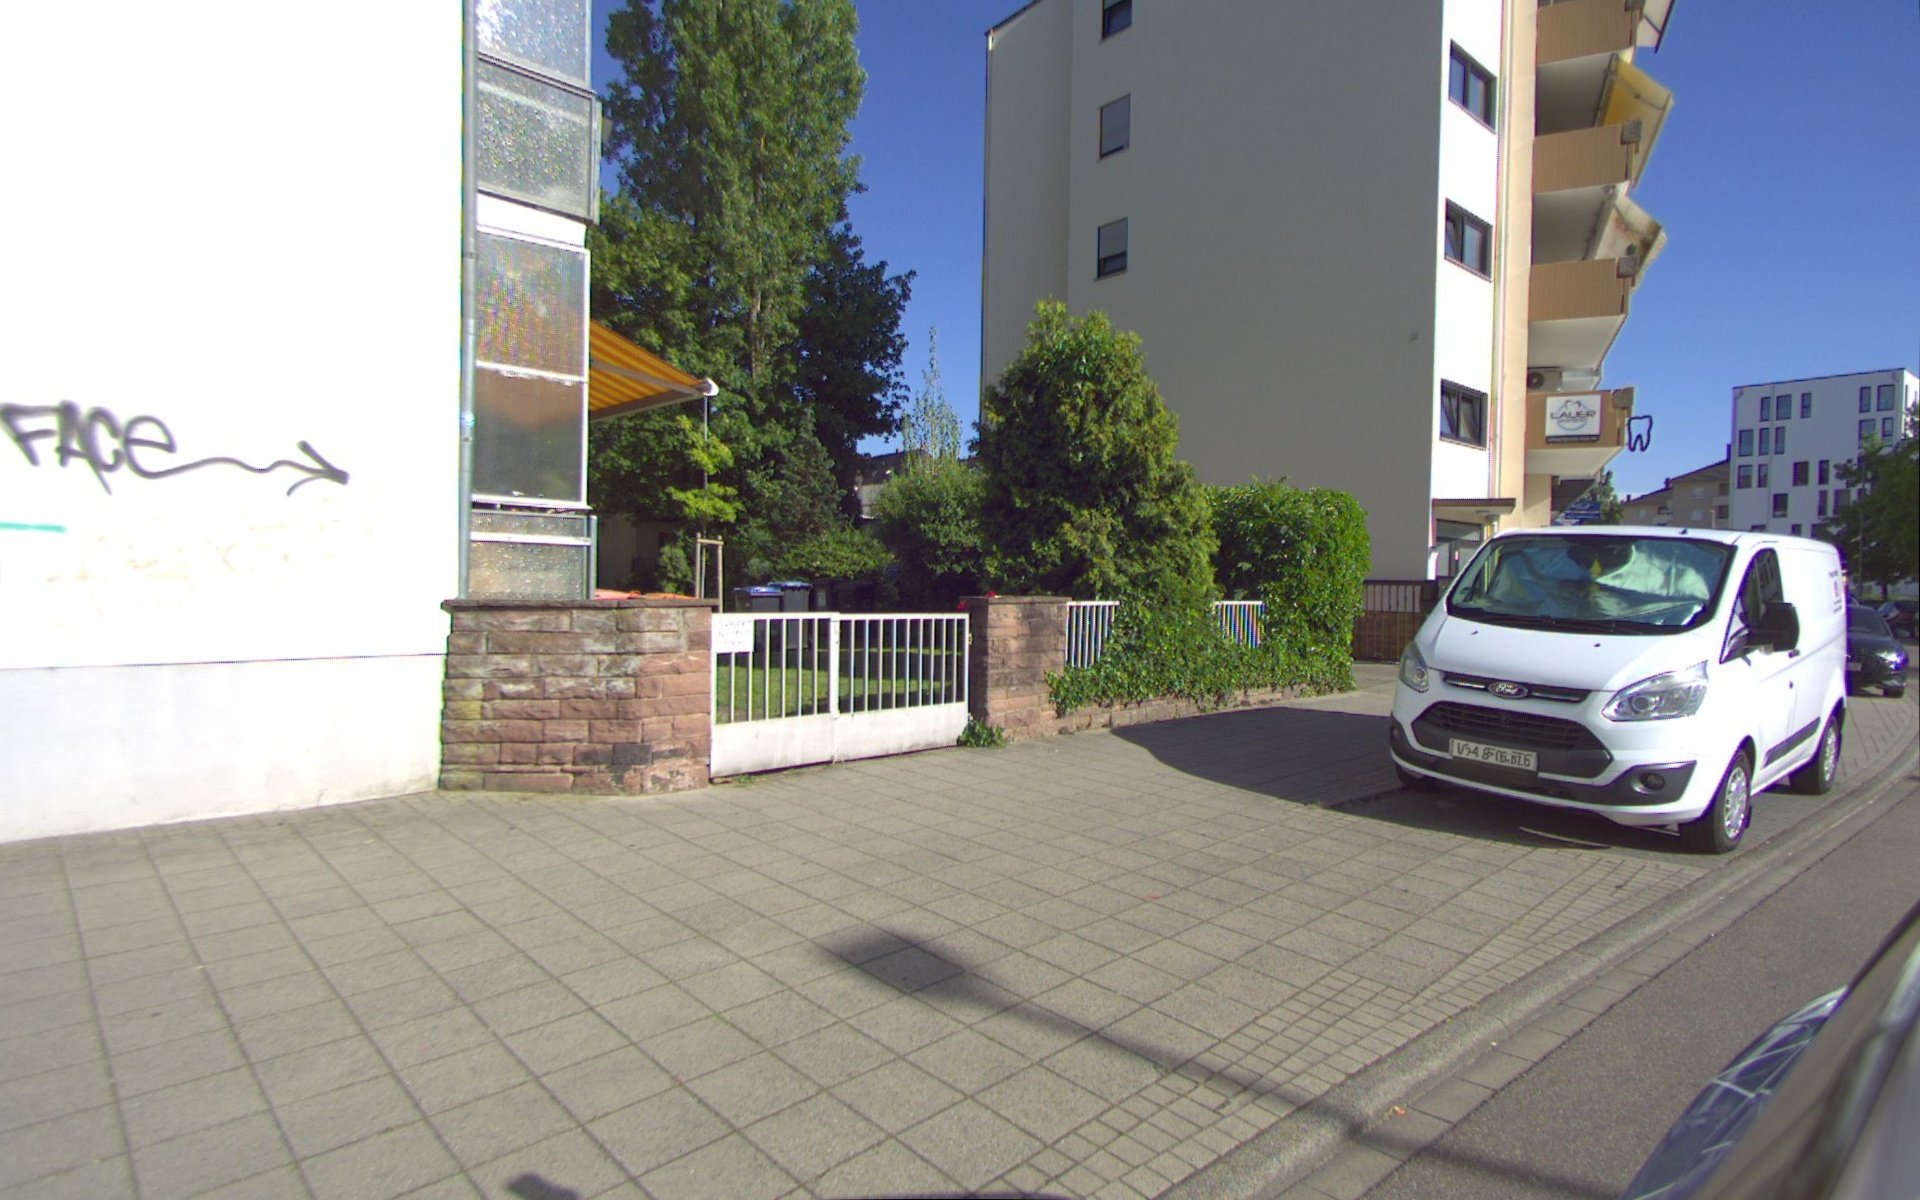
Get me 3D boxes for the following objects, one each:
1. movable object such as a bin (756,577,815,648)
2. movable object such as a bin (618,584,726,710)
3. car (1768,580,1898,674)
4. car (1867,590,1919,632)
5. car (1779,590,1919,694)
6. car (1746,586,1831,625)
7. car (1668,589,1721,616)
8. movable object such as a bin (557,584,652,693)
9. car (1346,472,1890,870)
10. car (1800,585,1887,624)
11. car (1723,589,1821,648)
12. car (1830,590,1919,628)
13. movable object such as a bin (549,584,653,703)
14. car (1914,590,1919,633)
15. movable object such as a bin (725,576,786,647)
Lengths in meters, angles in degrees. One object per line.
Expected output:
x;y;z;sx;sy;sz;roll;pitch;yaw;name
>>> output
-2.652;0.179;15.380;0.562;1.036;0.736;0;2;-45;movable object such as a bin
-2.724;0.417;9.604;0.567;1.119;0.795;2;2;33;movable object such as a bin
17.948;0.484;20.961;1.751;1.632;3.944;6;4;39;car
38.927;0.413;40.965;2.118;1.634;4.790;0;1;27;car
14.999;0.621;17.057;1.751;1.411;3.943;7;4;39;car
39.851;0.230;48.807;2.118;1.758;4.791;0;1;26;car
49.057;0.145;67.657;2.119;1.758;4.790;0;1;27;car
-3.853;0.394;10.990;0.567;1.119;0.795;2;2;33;movable object such as a bin
5.040;0.293;7.452;4.712;2.037;1.999;0;4;-41;car
43.786;0.206;50.270;2.118;1.833;4.790;0;0;27;car
24.188;0.483;30.275;1.747;1.471;3.954;6;4;32;car
41.514;0.356;45.868;2.118;1.634;4.420;0;1;27;car
-3.575;0.407;10.097;0.567;1.119;0.795;2;2;33;movable object such as a bin
36.431;0.469;36.168;2.118;1.634;4.790;0;1;27;car
-3.007;0.162;14.893;0.562;0.996;0.736;0;2;-45;movable object such as a bin
